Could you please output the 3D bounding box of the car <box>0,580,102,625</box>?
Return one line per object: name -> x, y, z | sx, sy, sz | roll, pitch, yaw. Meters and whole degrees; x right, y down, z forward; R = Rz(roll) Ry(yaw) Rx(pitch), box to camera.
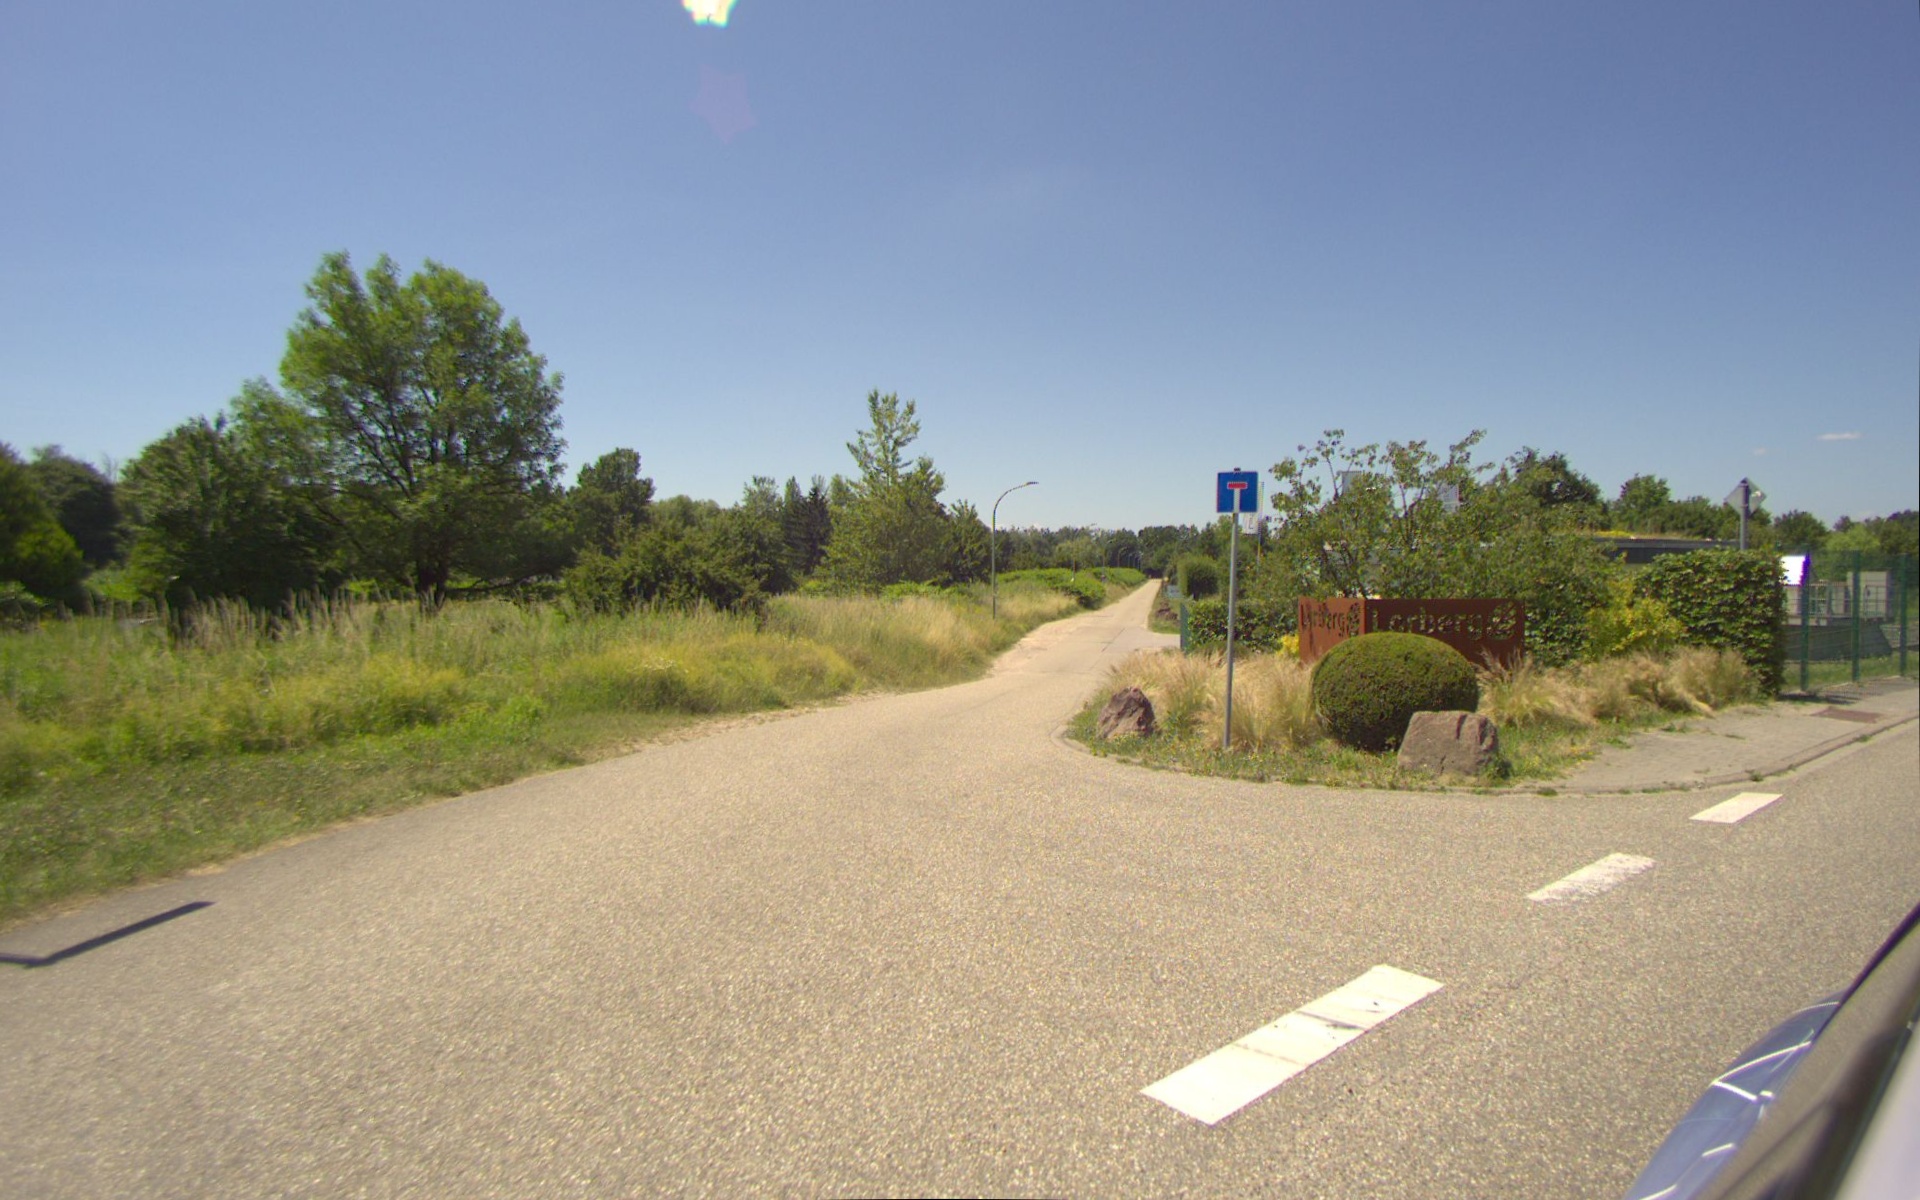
car -> -36.554, 0.064, 39.454 | 1.968, 1.644, 4.500 | 0, 1, 10
